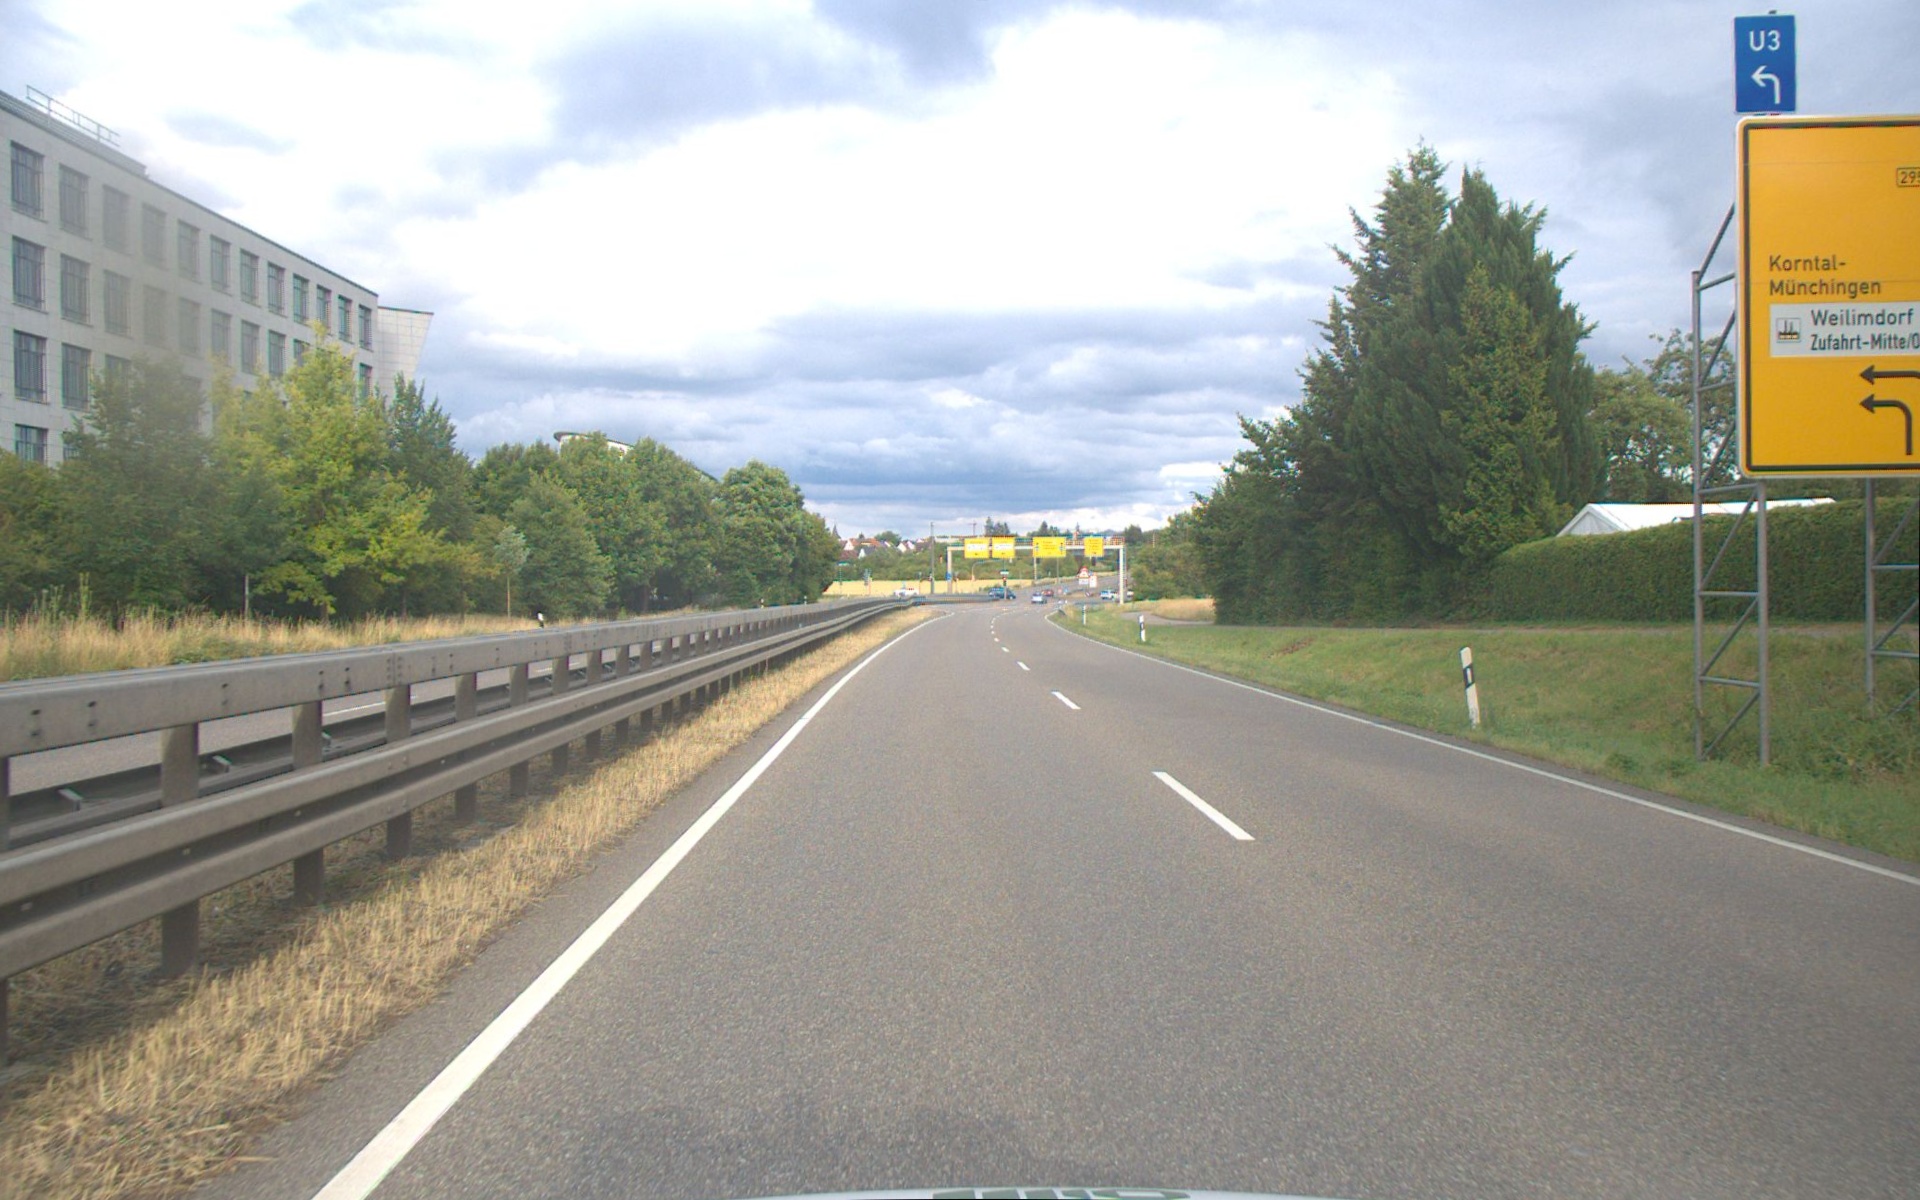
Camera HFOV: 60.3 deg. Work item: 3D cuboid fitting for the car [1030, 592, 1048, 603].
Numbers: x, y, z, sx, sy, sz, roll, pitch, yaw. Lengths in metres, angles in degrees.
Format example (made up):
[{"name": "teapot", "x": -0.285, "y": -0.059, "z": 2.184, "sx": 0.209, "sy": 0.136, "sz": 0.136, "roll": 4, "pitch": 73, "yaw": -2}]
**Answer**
[{"name": "car", "x": 11.108, "y": -0.391, "z": 232.098, "sx": 1.759, "sy": 1.583, "sz": 4.003, "roll": 0, "pitch": 0, "yaw": 13}]
